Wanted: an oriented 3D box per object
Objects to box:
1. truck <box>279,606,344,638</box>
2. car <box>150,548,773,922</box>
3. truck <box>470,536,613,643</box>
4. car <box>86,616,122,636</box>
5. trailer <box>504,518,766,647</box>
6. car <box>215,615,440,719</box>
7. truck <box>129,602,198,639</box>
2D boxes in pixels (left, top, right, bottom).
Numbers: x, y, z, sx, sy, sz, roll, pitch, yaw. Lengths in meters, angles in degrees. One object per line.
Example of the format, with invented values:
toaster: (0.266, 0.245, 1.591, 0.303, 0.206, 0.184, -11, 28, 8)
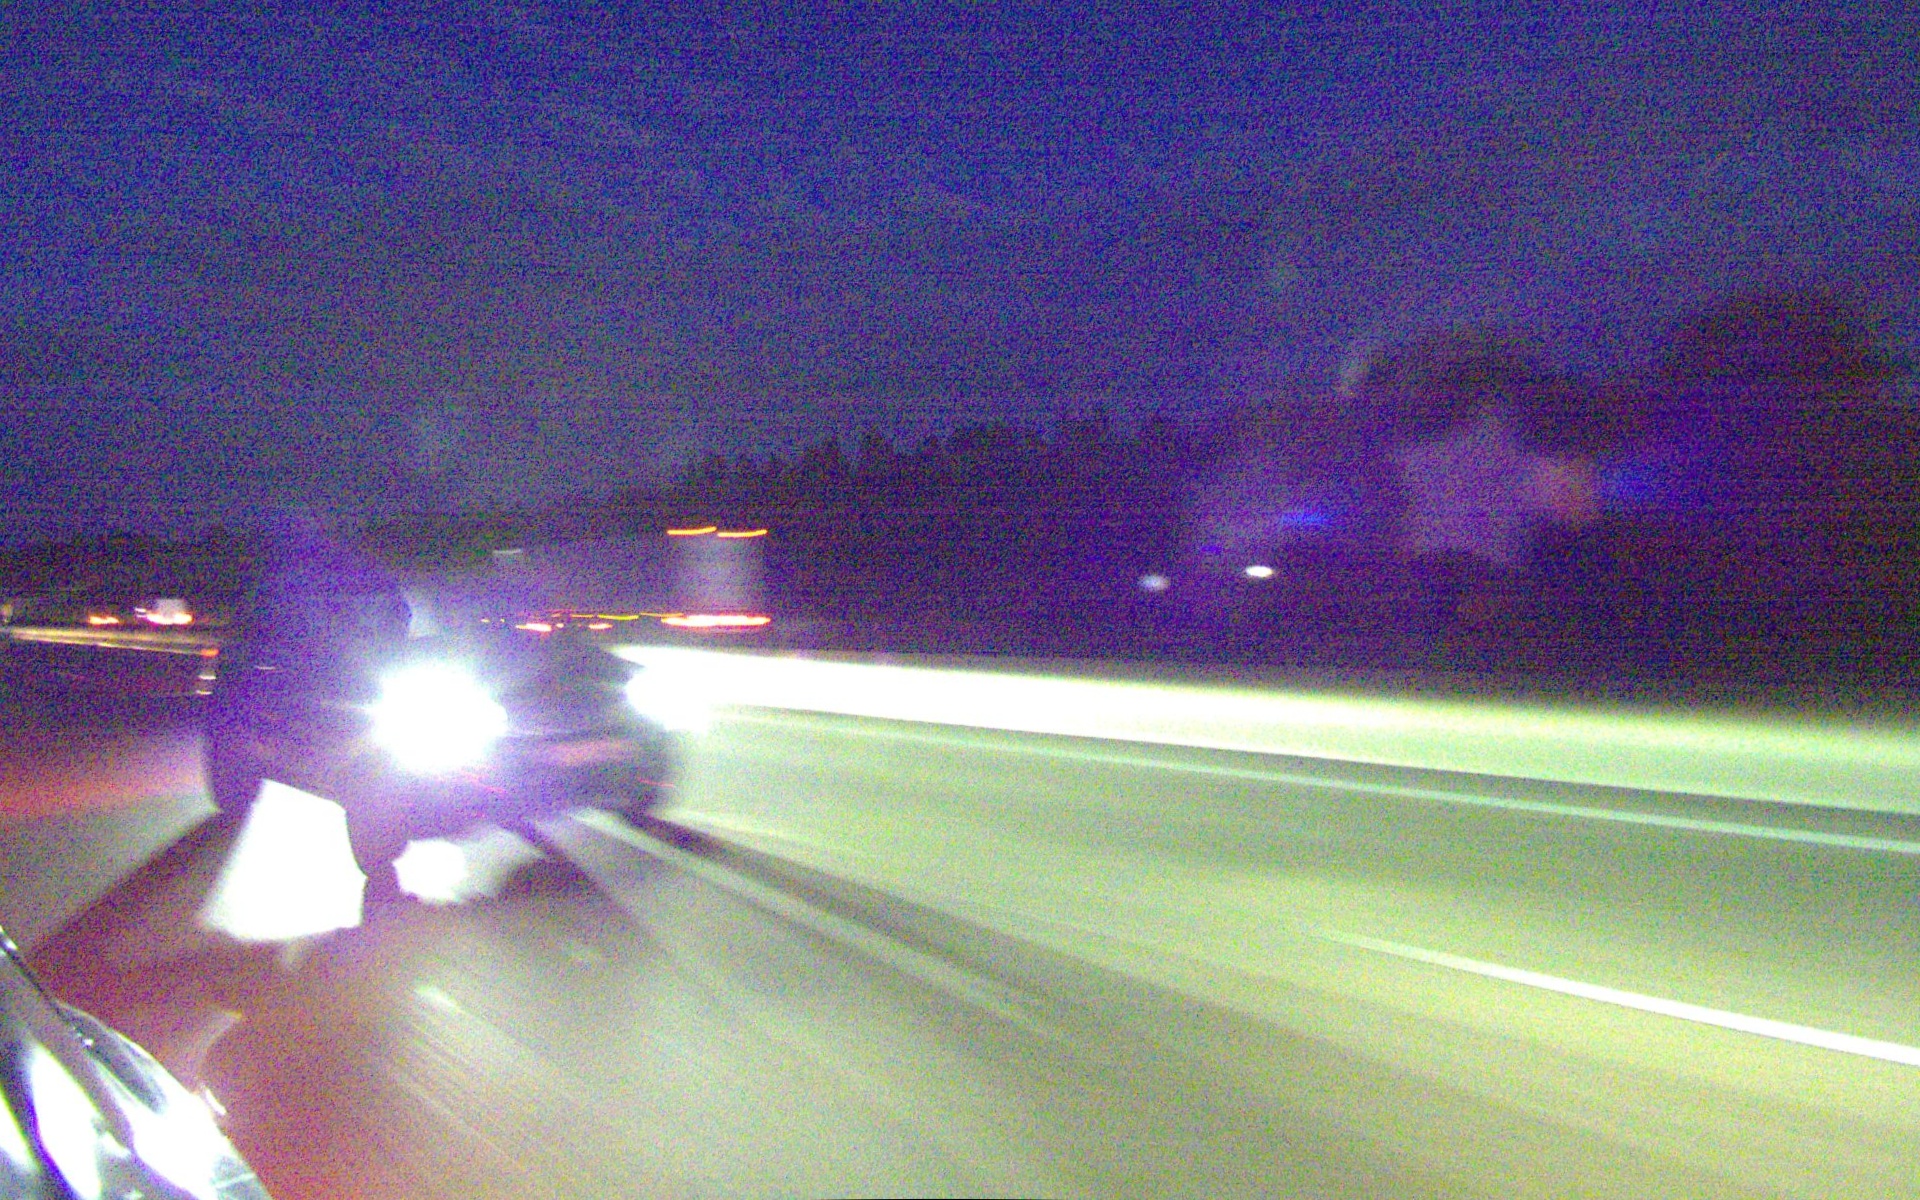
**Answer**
truck: (-38.407, 1.284, 59.909, 4.761, 1.769, 2.013, -1, 0, 42)
car: (-4.030, 0.679, 7.414, 5.939, 1.734, 1.973, -2, 0, 41)
truck: (-18.924, -0.386, 45.586, 6.704, 4.467, 3.291, -1, 0, 41)
car: (-92.886, 2.796, 109.778, 4.761, 1.970, 2.174, -2, 2, 41)
trailer: (-13.539, -0.491, 40.839, 14.017, 4.467, 3.291, -1, 0, 41)
car: (-10.717, 1.003, 16.947, 5.509, 1.442, 1.534, 0, -1, 39)
truck: (-62.536, 1.636, 79.390, 7.881, 2.661, 2.843, -2, 0, 41)
